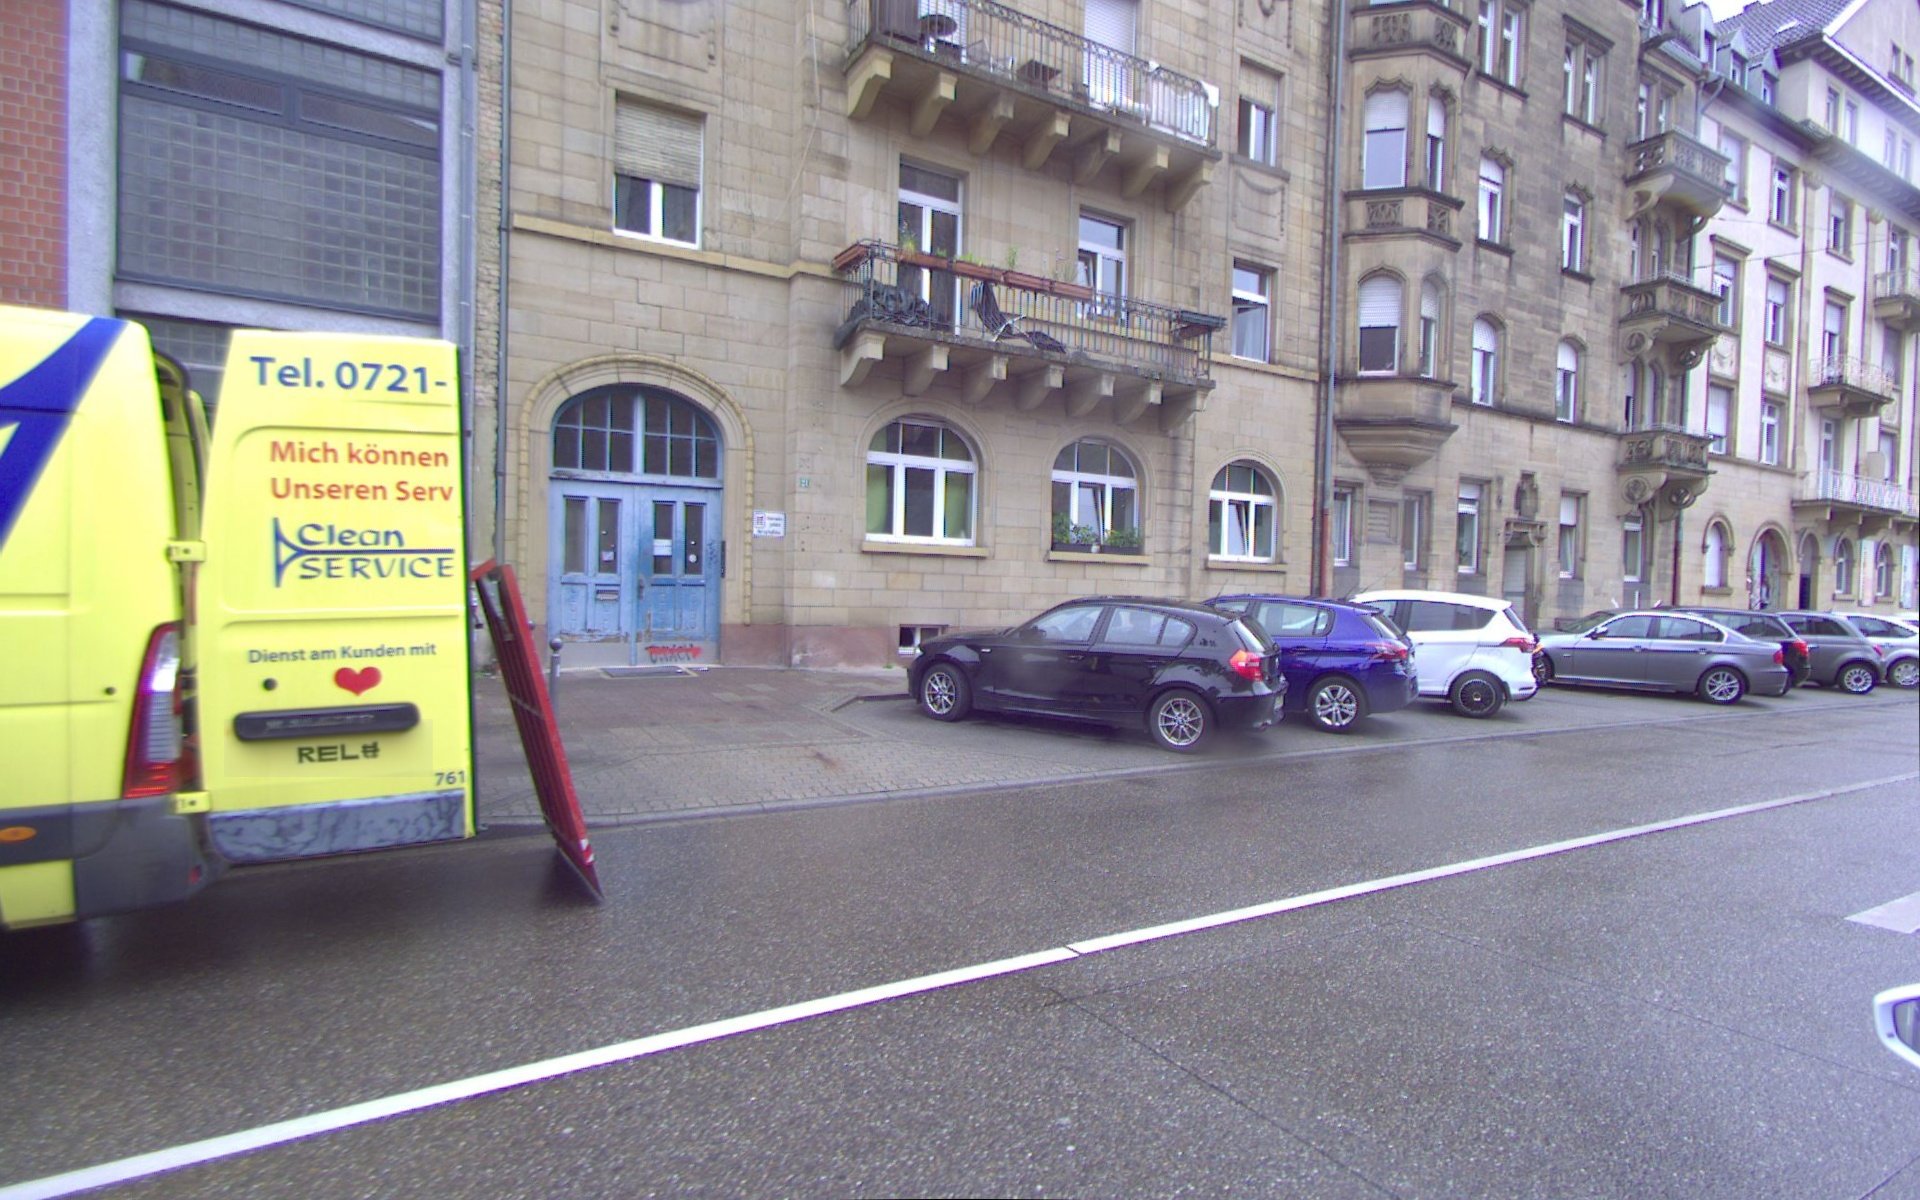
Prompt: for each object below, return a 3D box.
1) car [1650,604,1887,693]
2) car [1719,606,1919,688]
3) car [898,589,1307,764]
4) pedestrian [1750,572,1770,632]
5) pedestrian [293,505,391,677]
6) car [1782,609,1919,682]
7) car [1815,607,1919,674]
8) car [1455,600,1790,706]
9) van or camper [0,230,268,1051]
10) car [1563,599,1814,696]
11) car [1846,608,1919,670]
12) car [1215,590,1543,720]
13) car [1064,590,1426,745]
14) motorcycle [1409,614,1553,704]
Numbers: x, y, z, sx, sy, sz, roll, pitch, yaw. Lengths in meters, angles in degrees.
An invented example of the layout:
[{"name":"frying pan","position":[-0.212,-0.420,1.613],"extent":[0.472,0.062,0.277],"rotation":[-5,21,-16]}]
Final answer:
[{"name":"car","position":[16.196,0.917,20.323],"extent":[3.337,1.579,1.652],"rotation":[1,1,22]},{"name":"car","position":[18.783,0.975,21.782],"extent":[3.337,1.579,1.705],"rotation":[1,1,22]},{"name":"car","position":[1.496,0.689,10.810],"extent":[3.970,1.532,1.796],"rotation":[1,0,29]},{"name":"pedestrian","position":[25.055,0.068,31.456],"extent":[0.343,1.847,0.364],"rotation":[1,0,-32]},{"name":"pedestrian","position":[-6.712,-0.098,10.895],"extent":[0.781,1.751,0.997],"rotation":[0,1,-39]},{"name":"car","position":[21.523,1.044,23.342],"extent":[3.337,1.579,1.705],"rotation":[1,1,22]},{"name":"car","position":[23.776,1.005,25.044],"extent":[3.337,1.579,1.705],"rotation":[1,1,22]},{"name":"car","position":[11.089,0.833,17.203],"extent":[4.457,1.566,1.689],"rotation":[1,1,18]},{"name":"van or camper","position":[-5.669,0.101,2.913],"extent":[5.875,2.646,2.184],"rotation":[1,0,-32]},{"name":"car","position":[13.536,0.823,18.908],"extent":[3.485,1.619,1.605],"rotation":[1,1,22]},{"name":"car","position":[26.162,1.065,26.828],"extent":[3.337,1.579,1.705],"rotation":[1,1,22]},{"name":"car","position":[5.717,0.686,14.093],"extent":[3.964,1.576,1.798],"rotation":[1,0,20]},{"name":"car","position":[3.482,0.716,12.444],"extent":[3.973,1.595,1.794],"rotation":[1,0,32]},{"name":"motorcycle","position":[7.841,0.863,15.207],"extent":[1.837,1.177,0.633],"rotation":[4,2,24]}]
